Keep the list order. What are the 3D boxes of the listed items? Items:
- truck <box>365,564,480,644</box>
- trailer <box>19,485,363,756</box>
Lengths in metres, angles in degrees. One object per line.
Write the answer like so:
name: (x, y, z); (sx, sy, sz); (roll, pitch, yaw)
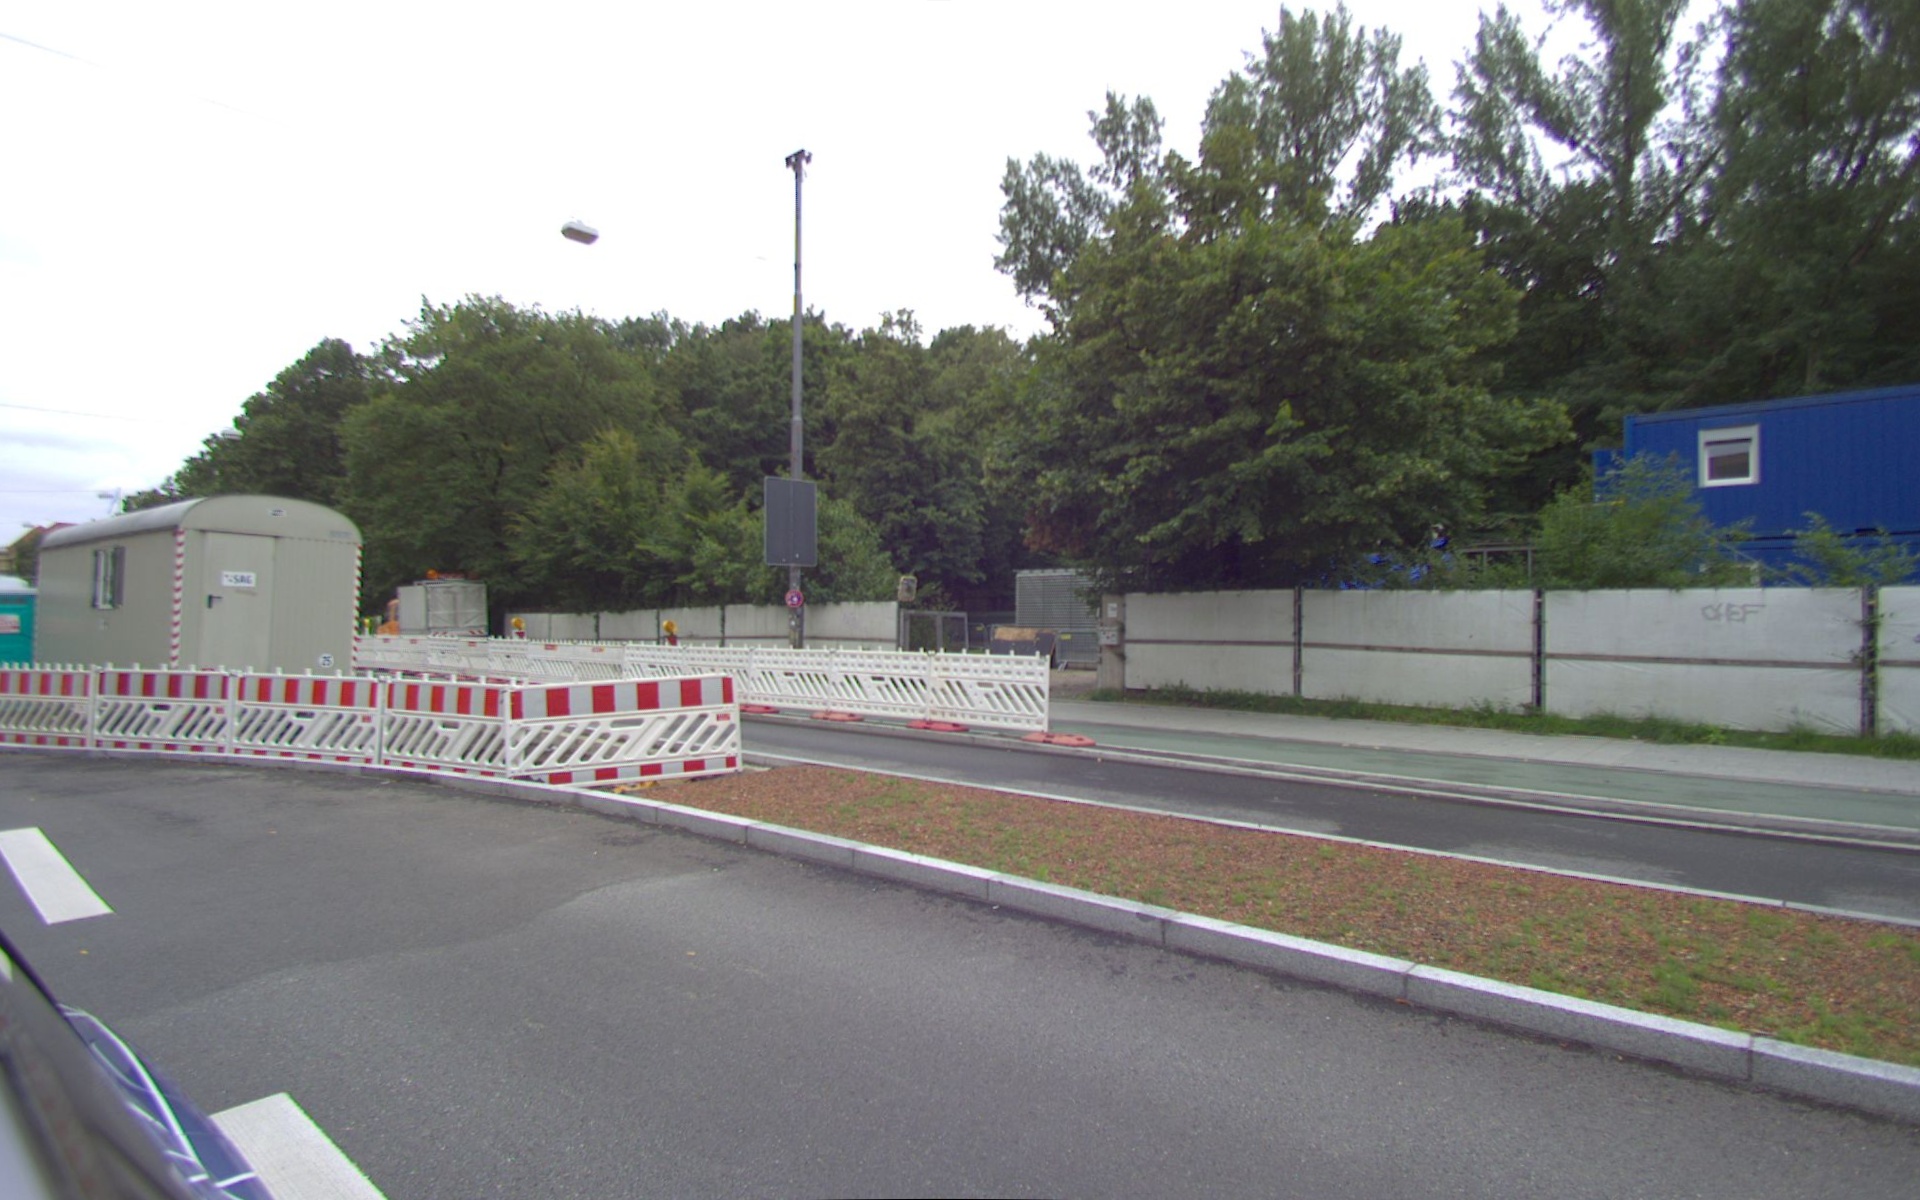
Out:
truck: (-20.025, 0.221, 37.579); (5.869, 2.749, 1.972); (-2, -2, 43)
trailer: (-11.894, 0.340, 15.351); (7.506, 3.268, 2.206); (-1, -2, 37)
